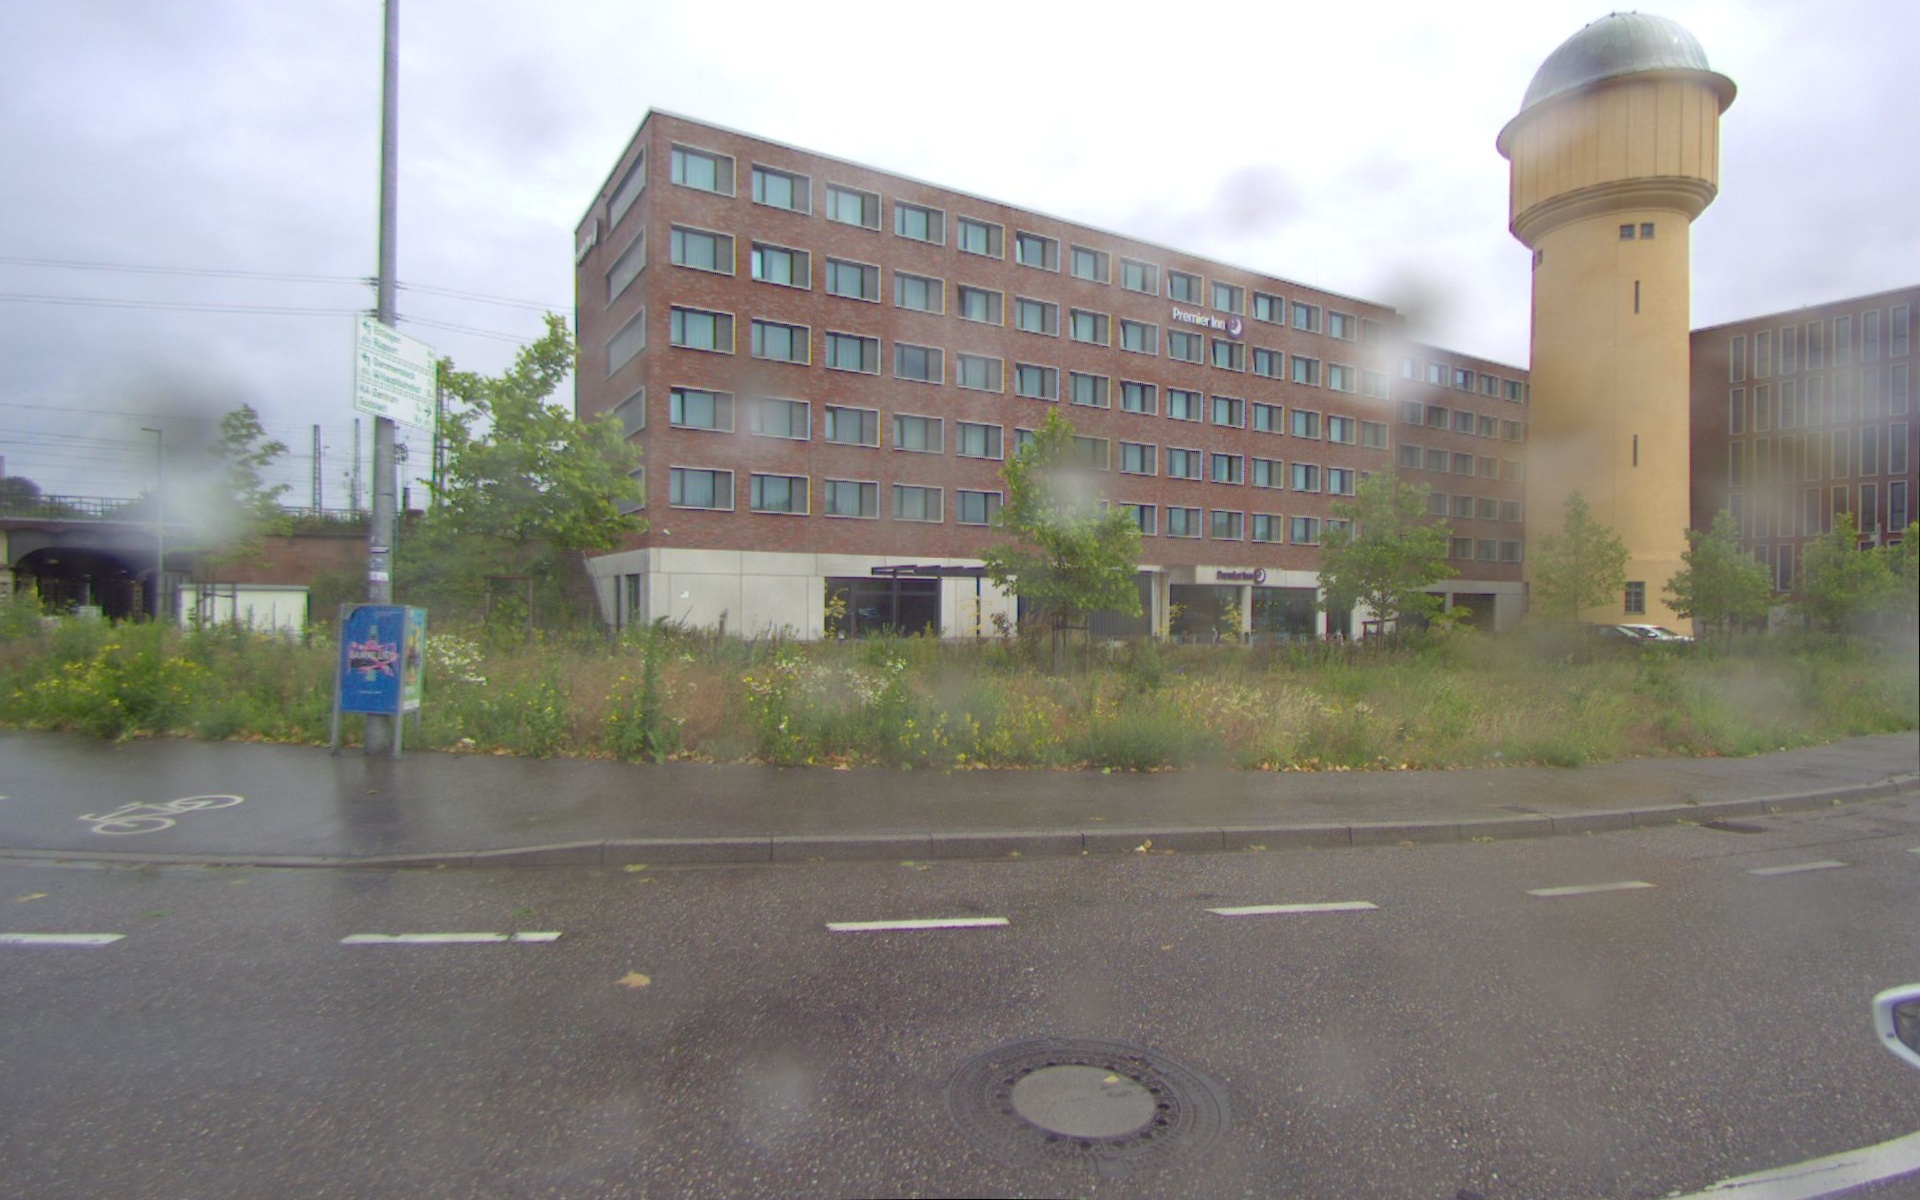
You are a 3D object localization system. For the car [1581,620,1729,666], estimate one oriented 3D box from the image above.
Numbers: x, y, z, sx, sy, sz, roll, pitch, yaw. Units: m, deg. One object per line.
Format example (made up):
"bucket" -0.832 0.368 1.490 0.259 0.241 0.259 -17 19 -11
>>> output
"car" 27.710 1.671 40.167 1.982 1.663 4.488 2 -1 -37
